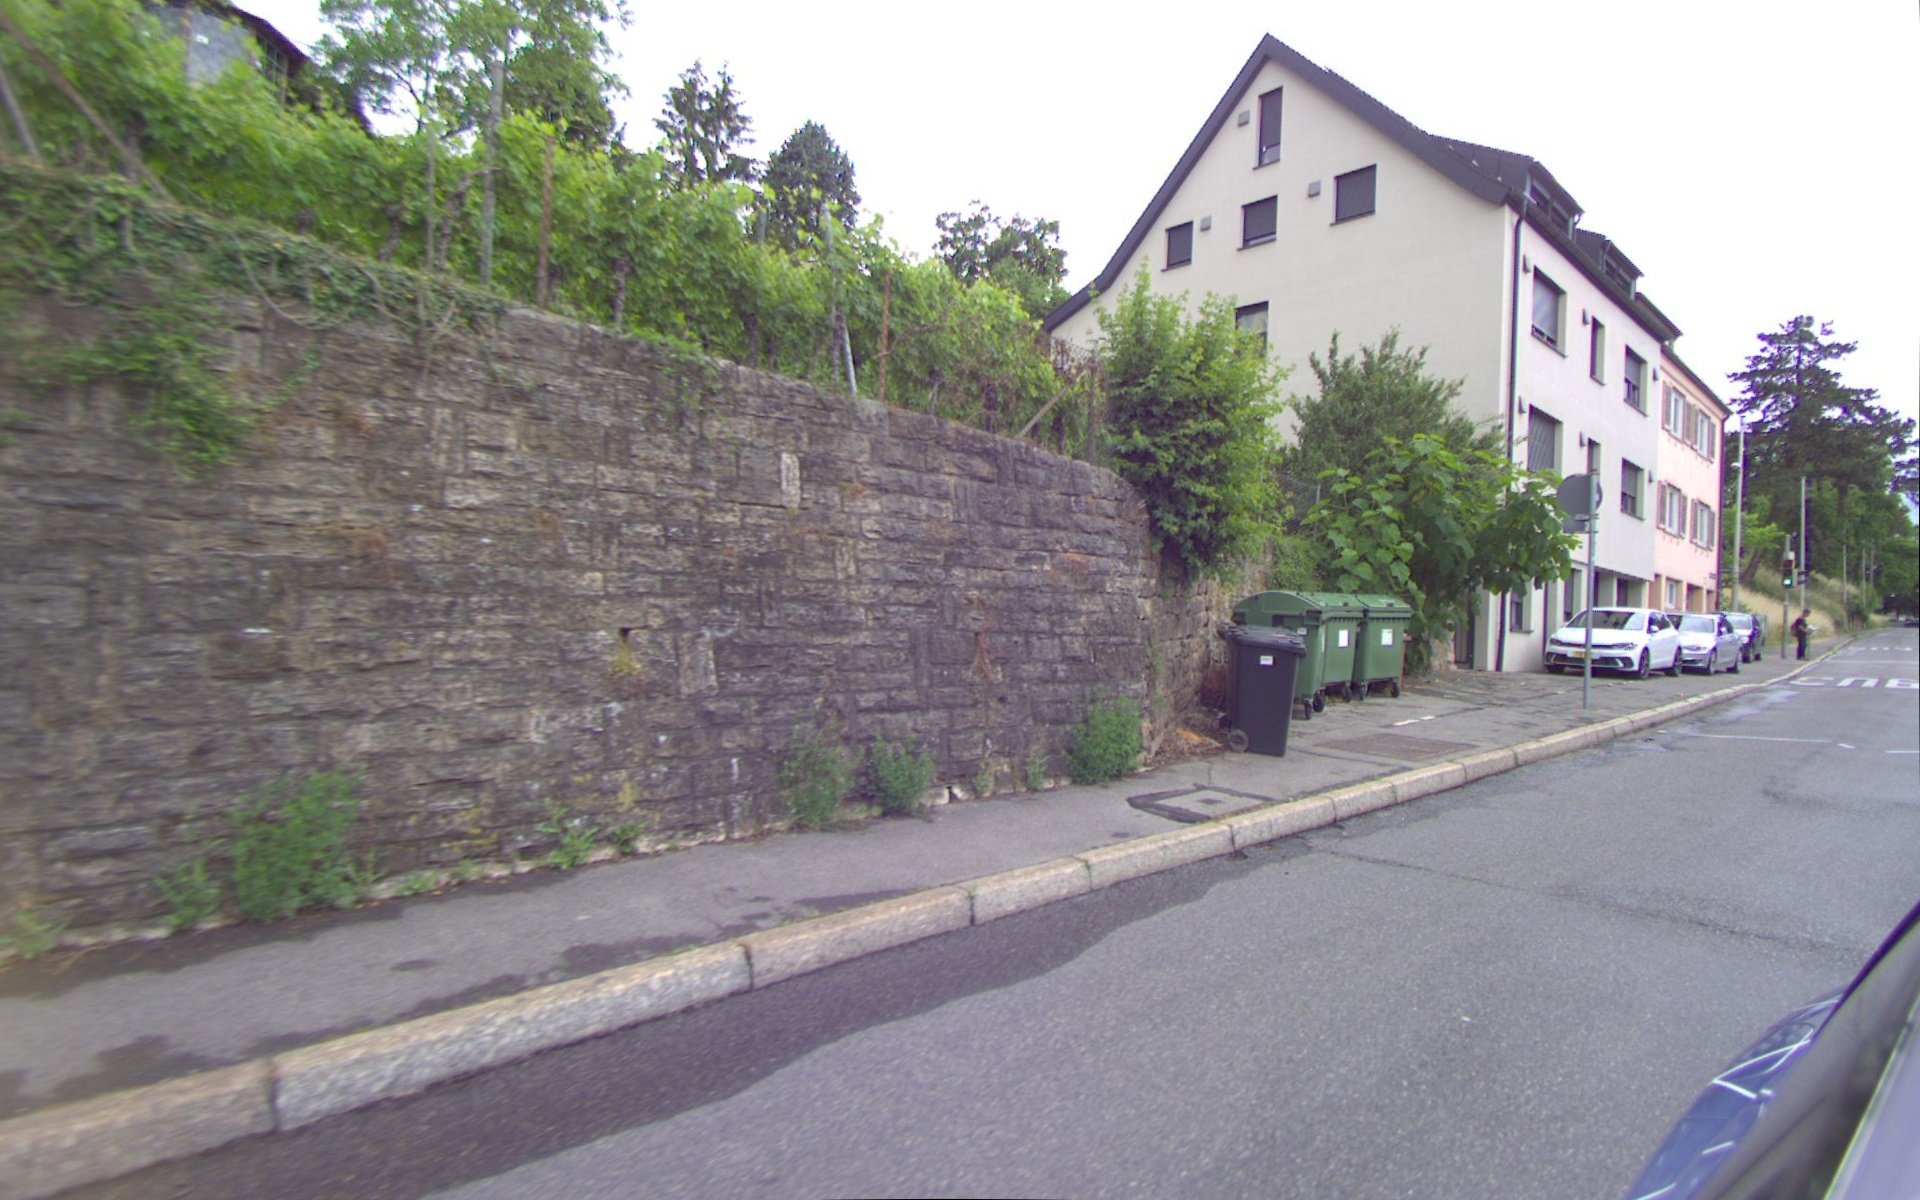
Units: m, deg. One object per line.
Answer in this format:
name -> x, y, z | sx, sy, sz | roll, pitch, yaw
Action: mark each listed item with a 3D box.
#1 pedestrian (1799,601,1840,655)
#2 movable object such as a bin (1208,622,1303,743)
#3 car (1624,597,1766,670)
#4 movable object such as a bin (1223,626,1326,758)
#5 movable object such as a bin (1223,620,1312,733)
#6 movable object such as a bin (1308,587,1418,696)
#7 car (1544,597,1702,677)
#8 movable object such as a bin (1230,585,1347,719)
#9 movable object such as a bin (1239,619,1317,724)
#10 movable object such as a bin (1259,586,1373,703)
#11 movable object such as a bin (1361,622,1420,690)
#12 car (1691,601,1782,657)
pedestrian -> 28.279, 0.917, 33.301 | 0.874, 1.718, 0.871 | 1, -2, -40
movable object such as a bin -> 2.871, 0.774, 9.822 | 0.738, 1.072, 0.672 | 1, 1, 30
car -> 17.861, 0.796, 24.519 | 4.637, 1.468, 1.798 | 2, 3, -42
movable object such as a bin -> 2.819, 0.792, 9.049 | 0.738, 1.072, 0.672 | 1, 1, 30
movable object such as a bin -> 3.181, 0.760, 10.460 | 0.738, 1.072, 0.672 | 1, 1, 30
movable object such as a bin -> 5.780, 0.561, 14.511 | 1.185, 1.463, 1.048 | 0, 1, -44
car -> 13.974, 0.718, 21.253 | 3.935, 1.440, 1.797 | 1, 2, -42
movable object such as a bin -> 3.918, 0.561, 12.009 | 1.042, 1.463, 1.404 | 1, 1, 30
movable object such as a bin -> 3.479, 0.763, 11.069 | 0.705, 1.072, 0.541 | 1, 1, 30
movable object such as a bin -> 4.788, 0.554, 13.583 | 1.047, 1.463, 1.186 | 2, 1, 43
movable object such as a bin -> 6.450, 0.822, 15.163 | 0.629, 0.954, 0.595 | 0, 1, -44
car -> 23.761, 0.843, 30.922 | 1.683, 1.468, 3.936 | 7, 4, 44
